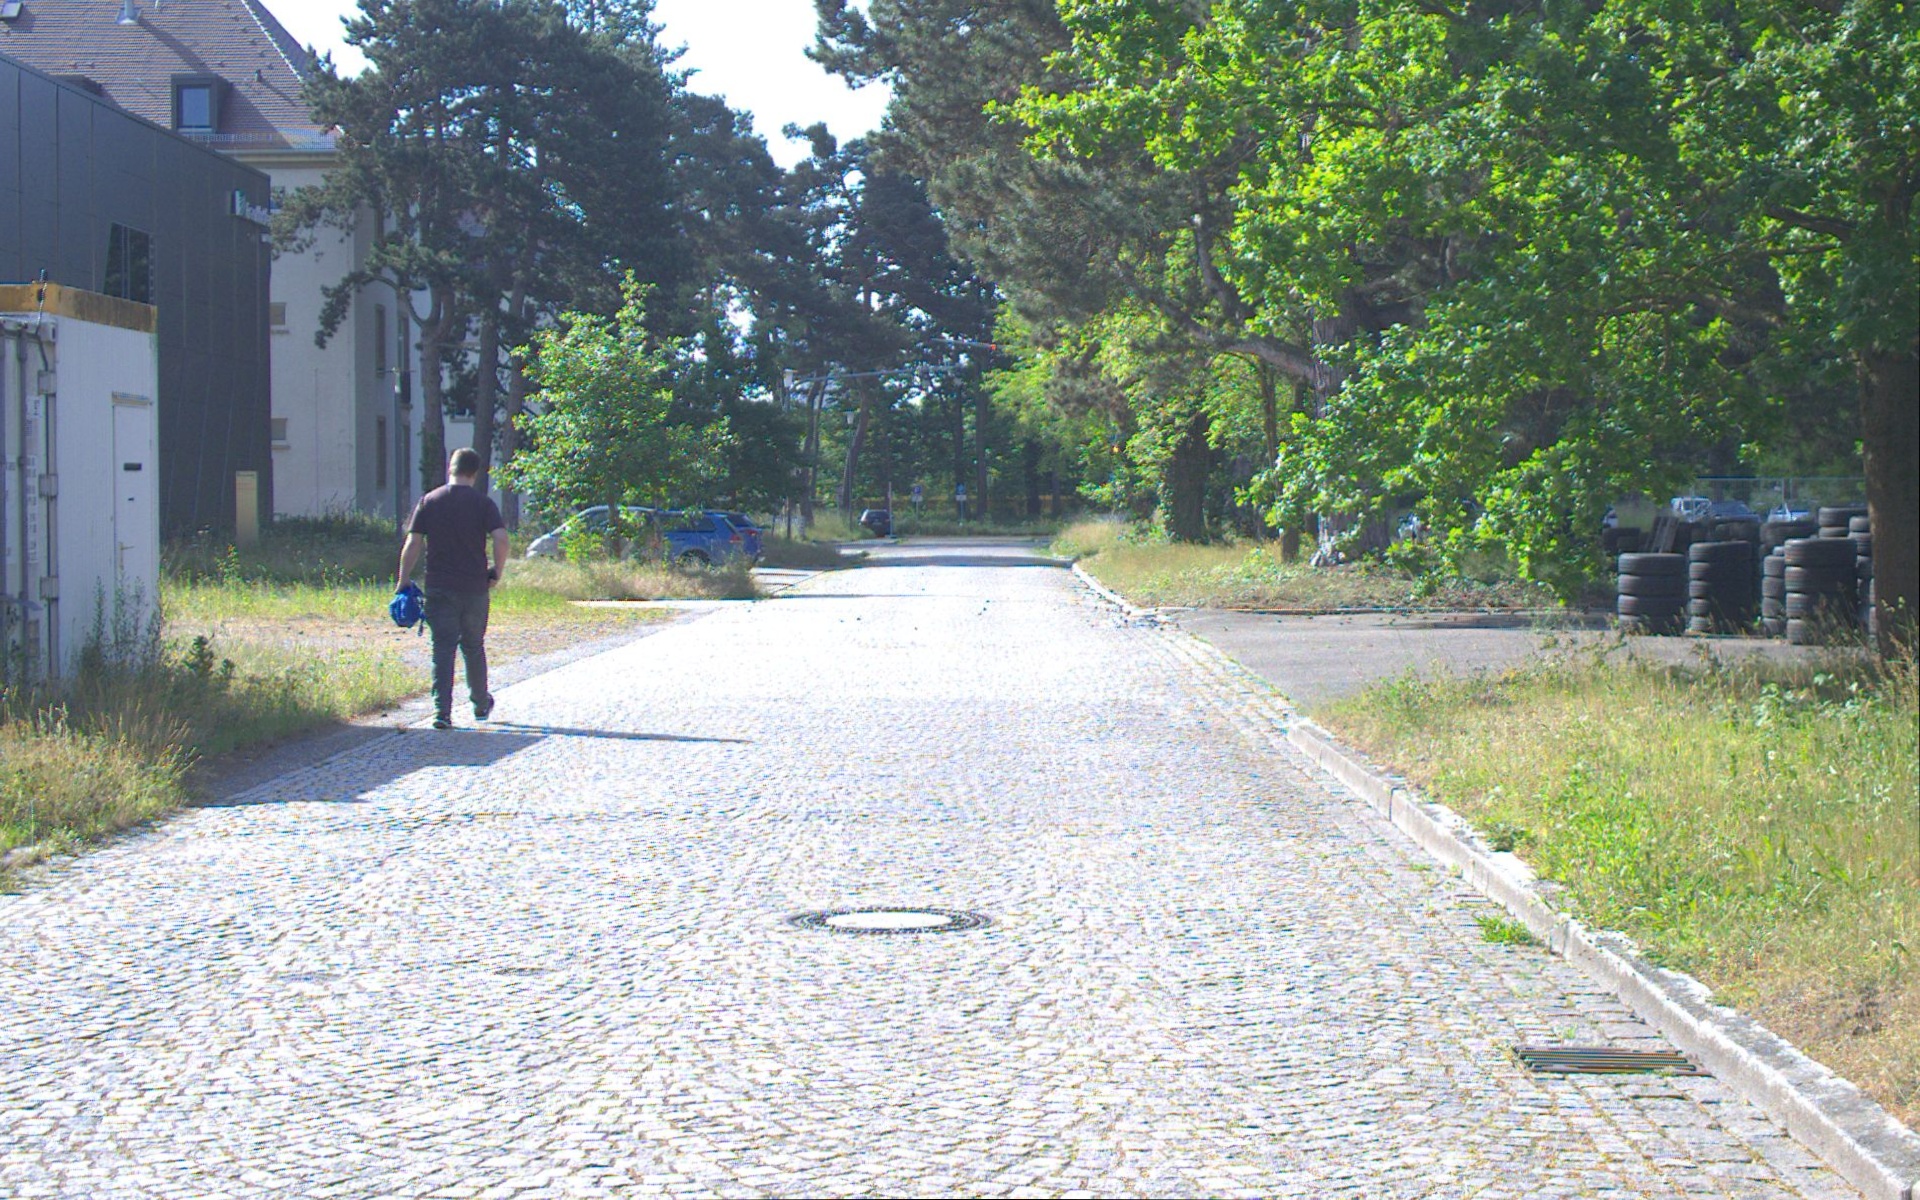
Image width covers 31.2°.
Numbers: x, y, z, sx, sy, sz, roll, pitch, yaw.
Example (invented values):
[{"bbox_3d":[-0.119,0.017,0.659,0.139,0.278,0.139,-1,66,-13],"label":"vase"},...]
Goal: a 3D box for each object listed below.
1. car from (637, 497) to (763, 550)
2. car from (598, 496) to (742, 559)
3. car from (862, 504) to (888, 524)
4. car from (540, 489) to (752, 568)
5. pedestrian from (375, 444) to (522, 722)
[{"bbox_3d":[-6.132,-1.808,80.870,2.853,1.202,1.374,-1,2,-8],"label":"car"},{"bbox_3d":[-6.035,-1.515,71.449,2.901,1.255,1.288,-1,2,-8],"label":"car"},{"bbox_3d":[-4.600,-4.688,186.804,1.369,1.095,2.863,0,2,-2],"label":"car"},{"bbox_3d":[-5.841,-1.350,64.216,3.833,1.436,1.583,0,2,-2],"label":"car"},{"bbox_3d":[-3.353,-0.124,22.608,0.795,1.774,1.069,1,1,-1],"label":"pedestrian"}]
